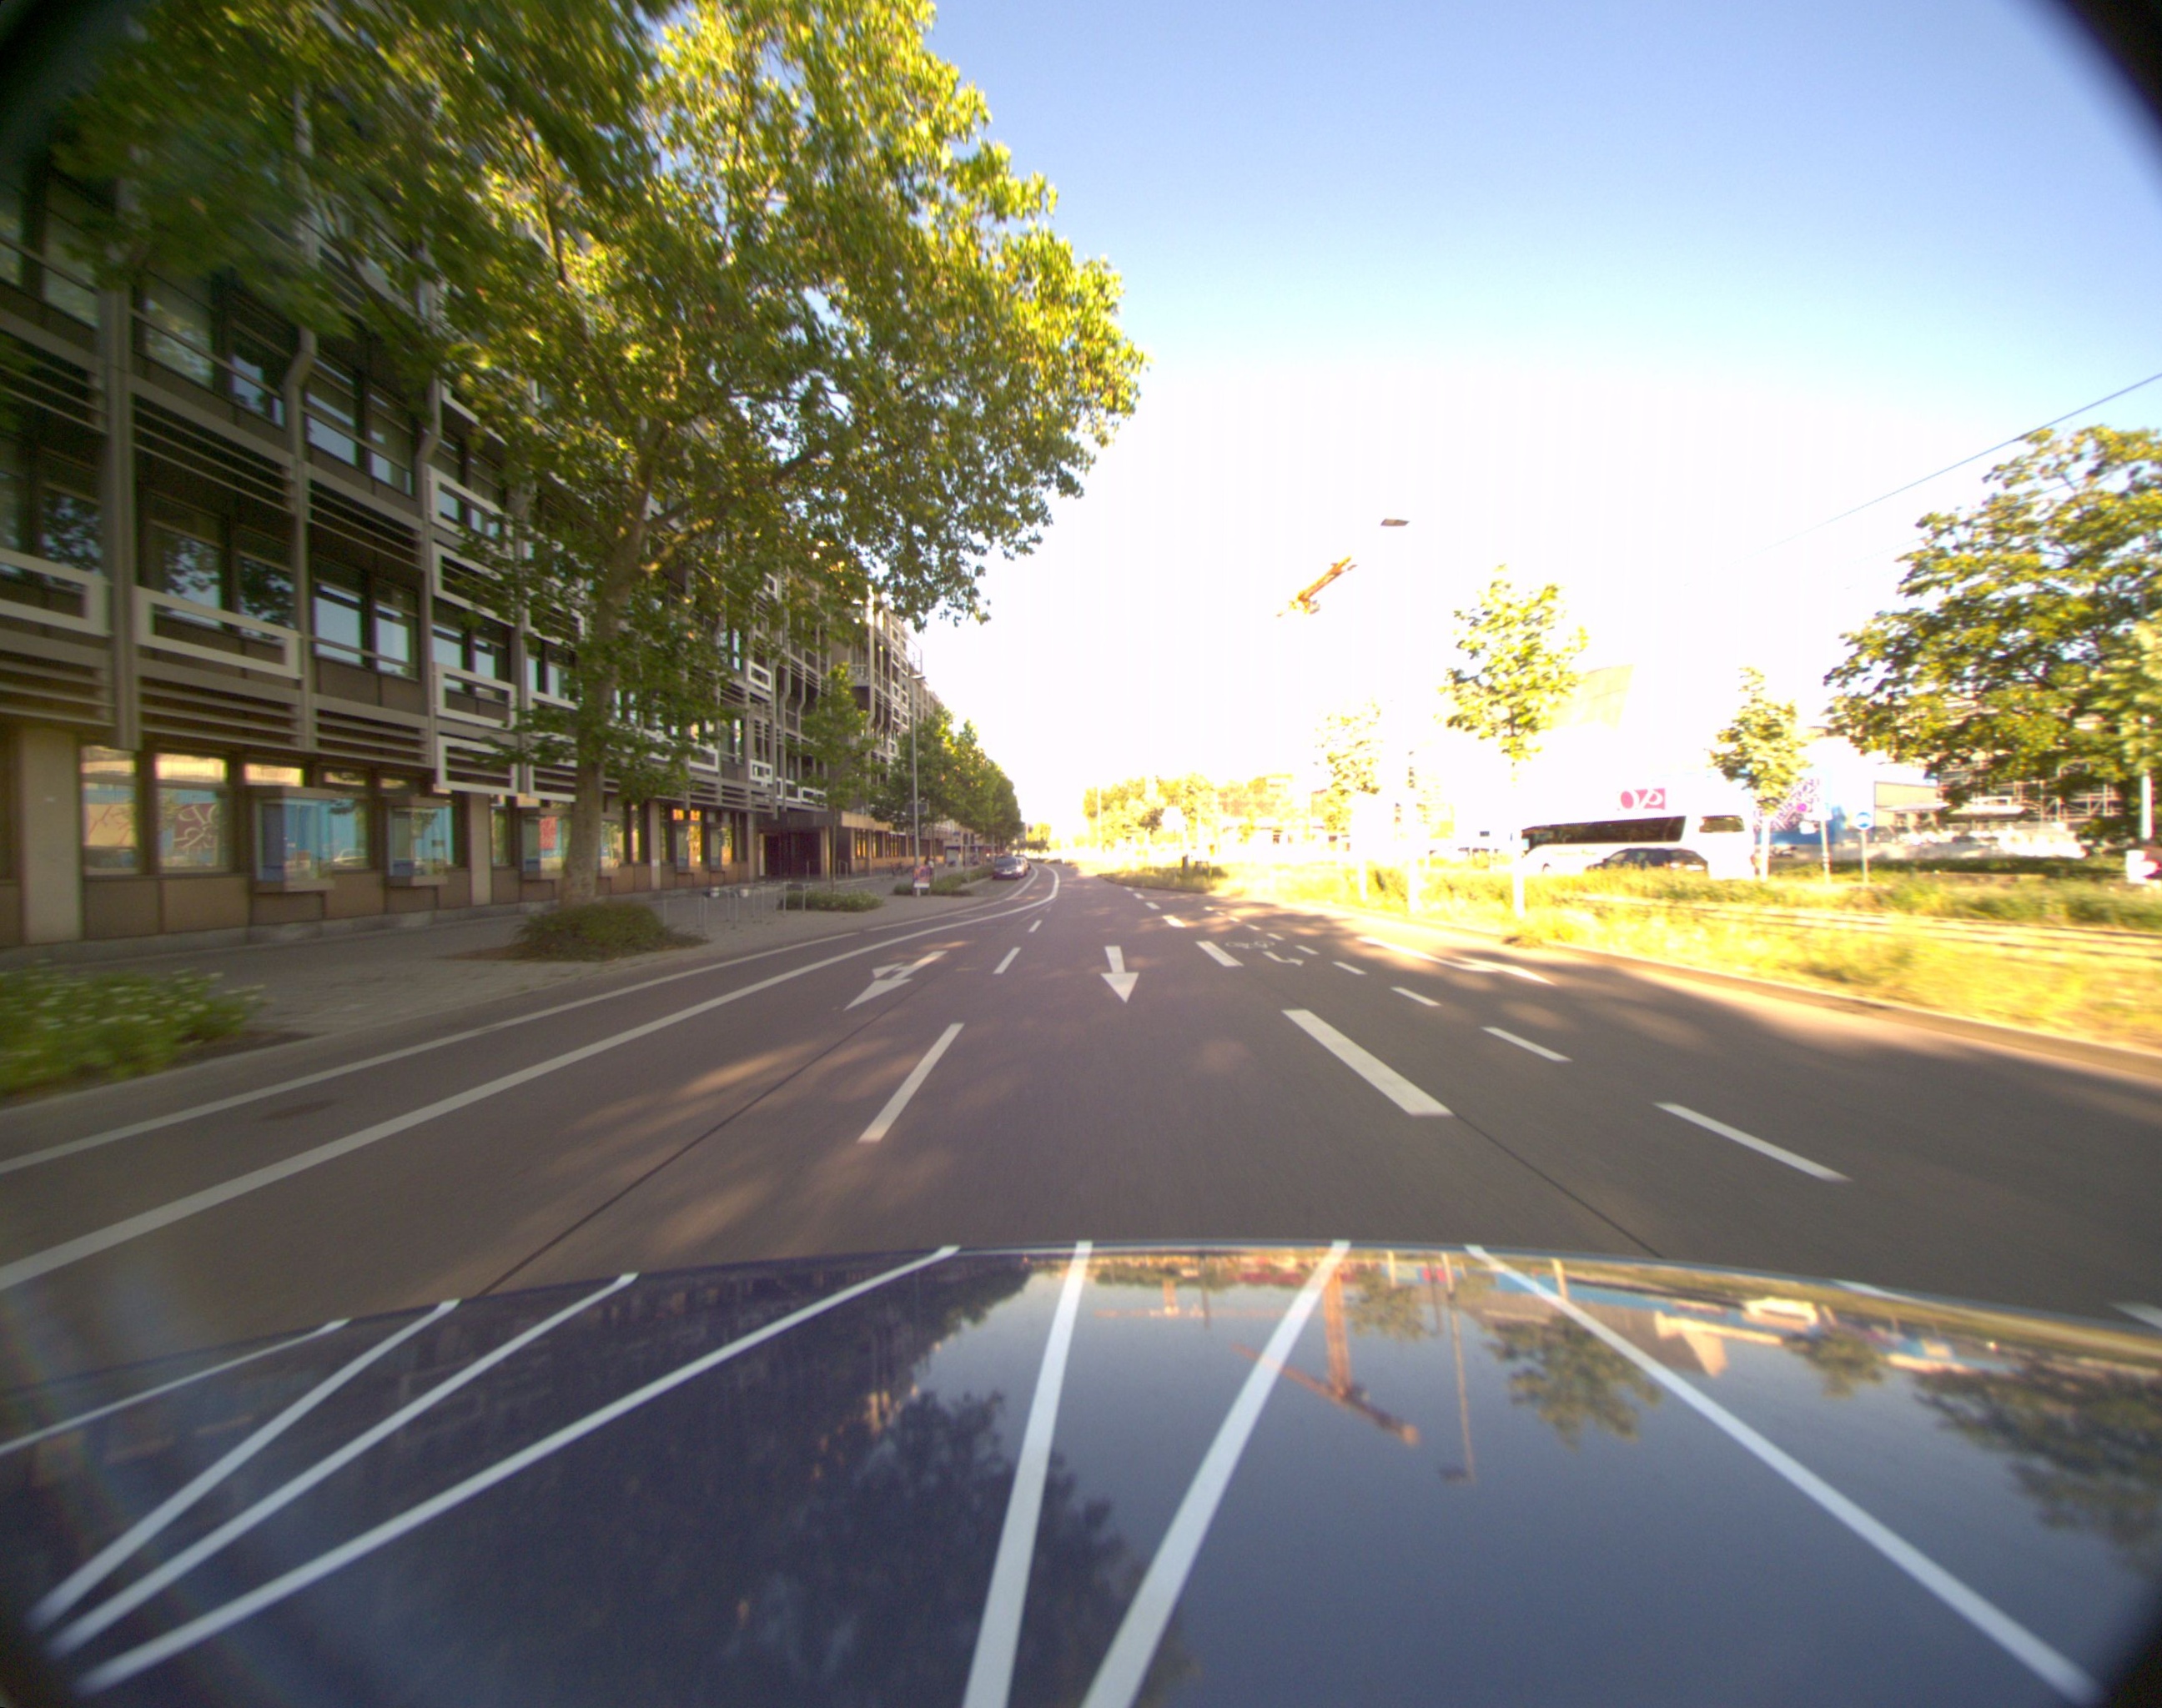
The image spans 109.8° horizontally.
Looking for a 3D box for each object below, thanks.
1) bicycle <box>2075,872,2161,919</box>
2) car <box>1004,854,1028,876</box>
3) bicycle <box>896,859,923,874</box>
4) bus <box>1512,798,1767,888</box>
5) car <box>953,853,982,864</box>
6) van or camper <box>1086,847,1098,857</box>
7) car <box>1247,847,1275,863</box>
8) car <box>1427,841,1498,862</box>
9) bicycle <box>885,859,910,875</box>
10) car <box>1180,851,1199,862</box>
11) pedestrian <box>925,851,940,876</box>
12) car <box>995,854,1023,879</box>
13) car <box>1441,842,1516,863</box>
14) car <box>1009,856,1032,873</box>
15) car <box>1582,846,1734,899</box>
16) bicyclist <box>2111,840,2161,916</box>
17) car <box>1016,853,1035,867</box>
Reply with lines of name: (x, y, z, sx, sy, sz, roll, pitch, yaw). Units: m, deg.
bicycle: (24.402, 0.938, 17.220, 0.689, 0.997, 2.361, -1, 0, 0)
car: (-5.122, 0.855, 60.102, 1.733, 1.612, 4.215, 1, 0, -3)
bicycle: (-12.412, 0.884, 55.056, 1.905, 1.086, 0.392, 0, 1, -7)
bus: (26.196, -0.467, 37.060, 2.806, 3.574, 12.695, -1, 0, -1)
car: (-17.579, 0.681, 118.114, 4.277, 1.442, 1.860, -1, 2, -13)
van or camper: (2.893, -0.543, 203.192, 2.229, 2.495, 7.195, 1, 0, -9)
car: (19.883, 0.090, 84.112, 1.999, 1.633, 4.166, -1, 0, -2)
car: (33.644, -0.213, 67.116, 5.241, 1.707, 2.124, -1, 1, -3)
bicycle: (-12.754, 0.911, 52.703, 1.631, 1.076, 0.392, 0, 1, 0)
car: (16.463, 0.310, 115.375, 1.999, 1.641, 4.269, -1, 0, -3)
pedestrian: (-9.998, 0.624, 51.272, 0.791, 1.639, 1.136, 0, 1, -1)
car: (-5.065, 0.823, 53.965, 1.733, 1.678, 4.513, 1, 0, -3)
car: (33.639, -0.140, 64.337, 5.241, 1.707, 2.124, -1, 1, -3)
car: (-5.188, 0.869, 65.533, 1.799, 1.440, 4.375, 1, 0, -2)
car: (20.918, 0.605, 27.848, 1.875, 1.755, 4.812, -1, 0, -1)
bicyclist: (24.414, 0.536, 17.286, 0.689, 1.698, 0.954, -1, 1, 0)
car: (-6.898, 0.697, 93.842, 1.937, 1.589, 4.695, 1, 0, -8)
